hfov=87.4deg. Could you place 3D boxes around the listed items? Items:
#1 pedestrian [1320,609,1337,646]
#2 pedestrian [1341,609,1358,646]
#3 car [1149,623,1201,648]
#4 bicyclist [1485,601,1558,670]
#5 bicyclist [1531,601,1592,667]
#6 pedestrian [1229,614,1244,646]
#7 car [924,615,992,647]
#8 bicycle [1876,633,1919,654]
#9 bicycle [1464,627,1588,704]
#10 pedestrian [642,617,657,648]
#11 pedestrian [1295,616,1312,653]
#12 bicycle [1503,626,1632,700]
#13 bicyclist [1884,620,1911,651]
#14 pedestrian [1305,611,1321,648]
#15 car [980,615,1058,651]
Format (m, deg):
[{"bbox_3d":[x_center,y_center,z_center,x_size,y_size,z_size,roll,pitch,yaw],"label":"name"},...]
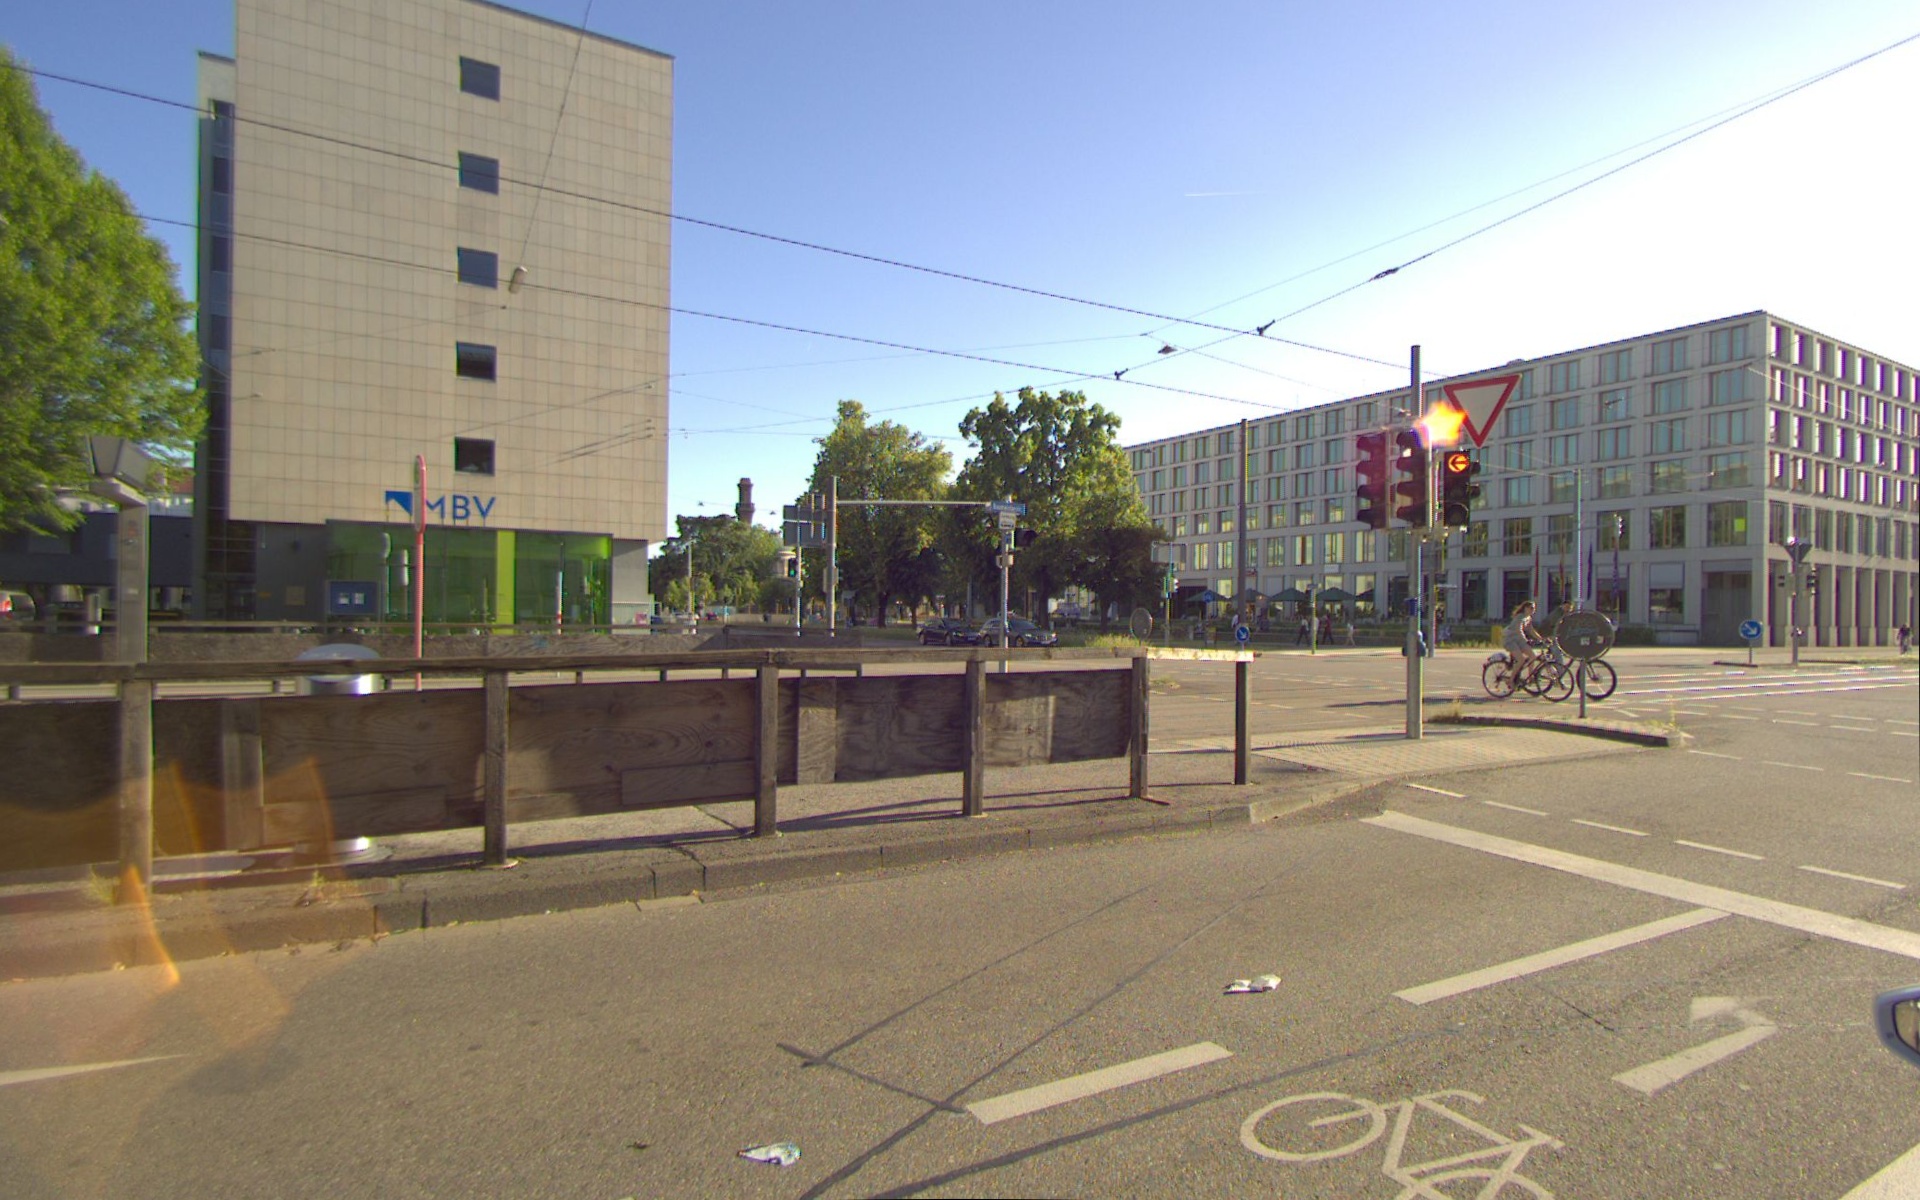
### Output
[{"bbox_3d":[20.766,1.558,56.611,0.793,2.040,0.526,1,-1,-36],"label":"pedestrian"},{"bbox_3d":[21.607,1.516,55.669,0.793,2.040,0.526,1,-1,-36],"label":"pedestrian"},{"bbox_3d":[13.536,2.222,63.364,1.456,1.457,3.166,1,-1,-33],"label":"car"},{"bbox_3d":[10.353,0.649,18.541,0.788,1.235,0.920,1,-1,-33],"label":"bicyclist"},{"bbox_3d":[11.525,0.646,19.252,0.788,1.235,0.717,1,-1,-31],"label":"bicyclist"},{"bbox_3d":[16.679,1.829,60.672,0.672,1.928,0.560,1,-1,-21],"label":"pedestrian"},{"bbox_3d":[-0.141,1.588,52.587,1.801,1.595,3.967,0,0,-31],"label":"car"},{"bbox_3d":[50.504,2.340,54.080,2.976,1.136,0.871,1,-1,-29],"label":"bicycle"},{"bbox_3d":[10.378,1.170,18.473,0.783,1.308,1.840,1,-1,-33],"label":"bicycle"},{"bbox_3d":[-15.729,1.627,50.853,0.593,1.561,0.620,1,-1,-32],"label":"pedestrian"},{"bbox_3d":[19.105,1.918,55.903,0.793,2.040,0.526,1,-1,-36],"label":"pedestrian"},{"bbox_3d":[11.554,1.166,19.177,0.783,1.308,1.975,1,-1,-31],"label":"bicycle"},{"bbox_3d":[50.392,1.910,53.997,0.812,1.663,0.872,1,-1,-29],"label":"bicyclist"},{"bbox_3d":[19.834,1.648,56.438,0.793,2.040,0.526,1,-1,-36],"label":"pedestrian"},{"bbox_3d":[2.752,1.551,47.807,1.708,1.595,4.140,1,-1,-31],"label":"car"}]
